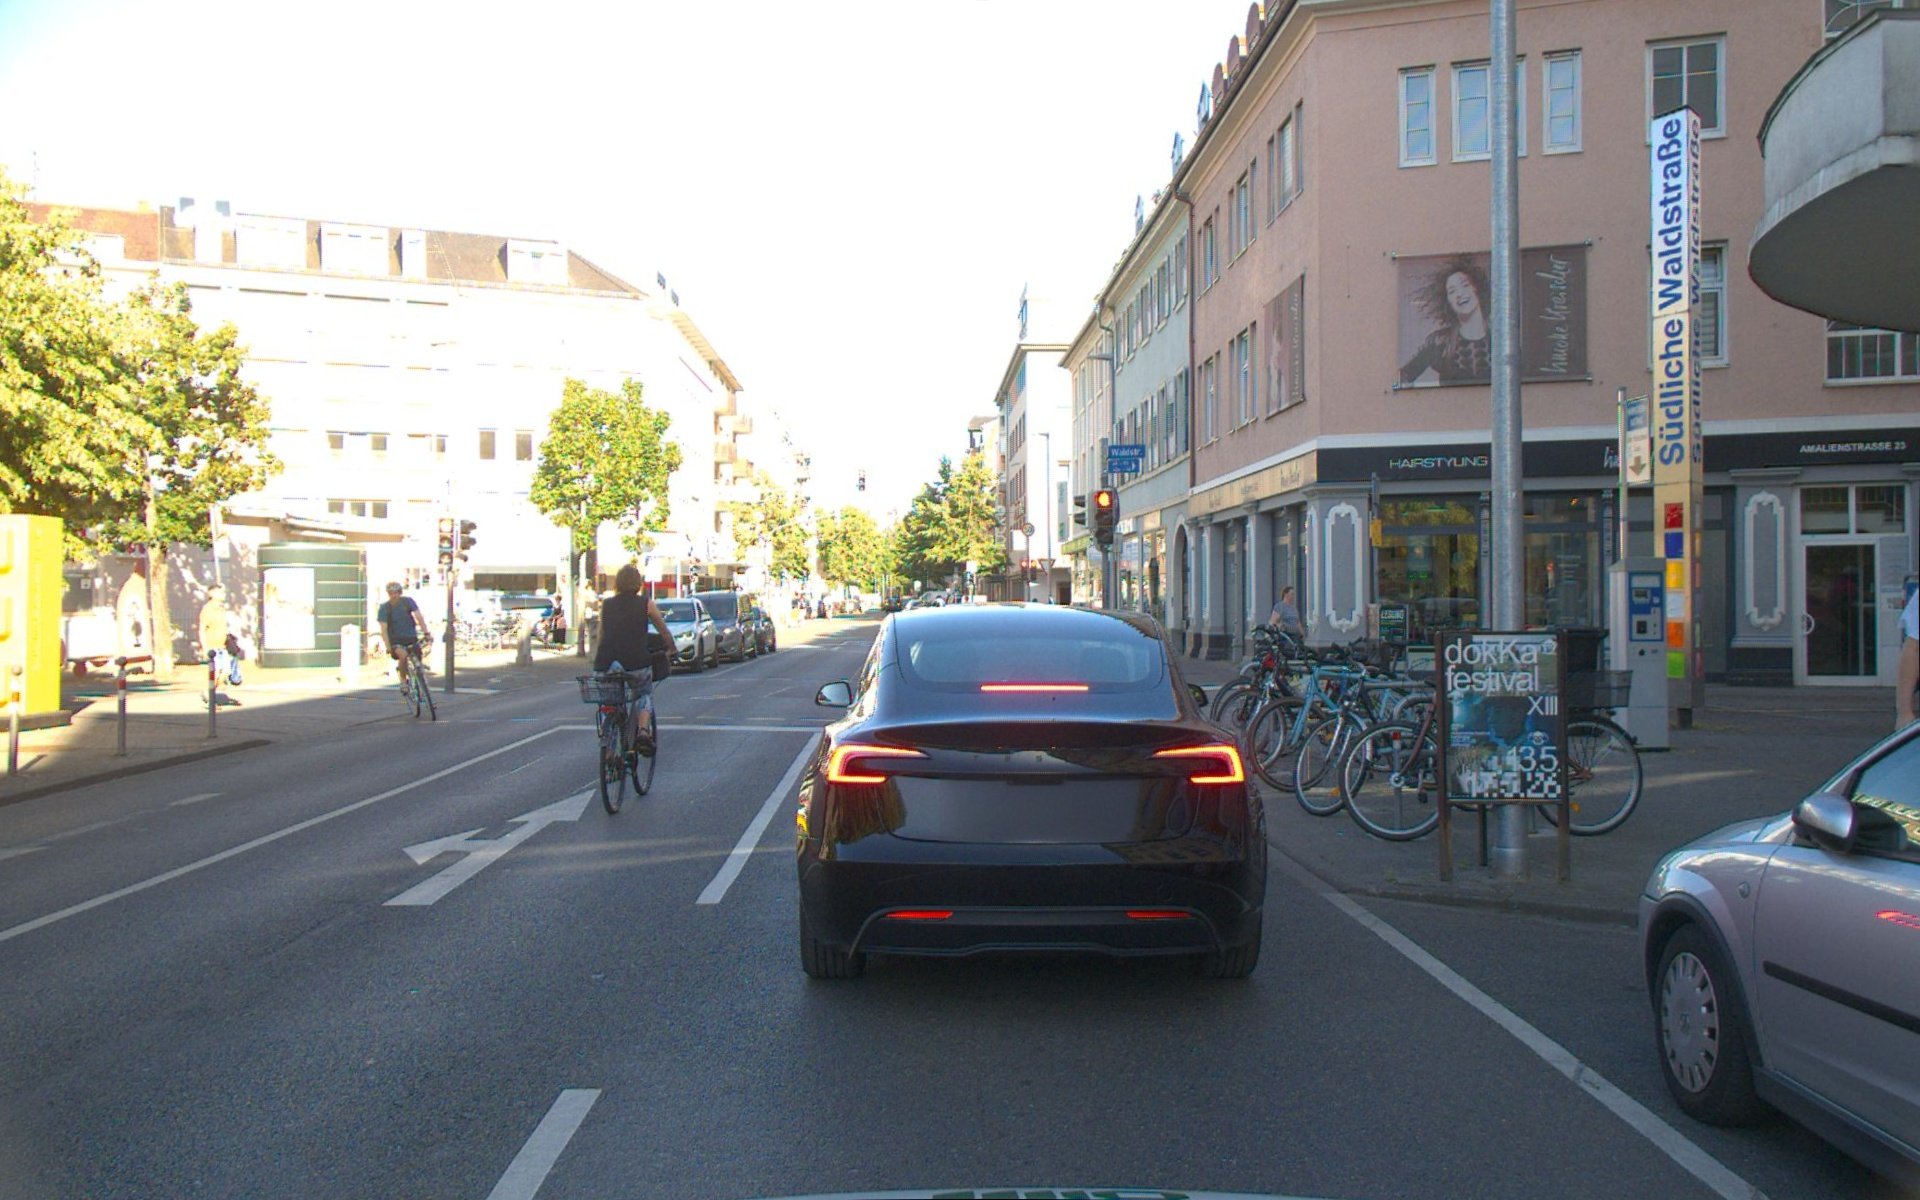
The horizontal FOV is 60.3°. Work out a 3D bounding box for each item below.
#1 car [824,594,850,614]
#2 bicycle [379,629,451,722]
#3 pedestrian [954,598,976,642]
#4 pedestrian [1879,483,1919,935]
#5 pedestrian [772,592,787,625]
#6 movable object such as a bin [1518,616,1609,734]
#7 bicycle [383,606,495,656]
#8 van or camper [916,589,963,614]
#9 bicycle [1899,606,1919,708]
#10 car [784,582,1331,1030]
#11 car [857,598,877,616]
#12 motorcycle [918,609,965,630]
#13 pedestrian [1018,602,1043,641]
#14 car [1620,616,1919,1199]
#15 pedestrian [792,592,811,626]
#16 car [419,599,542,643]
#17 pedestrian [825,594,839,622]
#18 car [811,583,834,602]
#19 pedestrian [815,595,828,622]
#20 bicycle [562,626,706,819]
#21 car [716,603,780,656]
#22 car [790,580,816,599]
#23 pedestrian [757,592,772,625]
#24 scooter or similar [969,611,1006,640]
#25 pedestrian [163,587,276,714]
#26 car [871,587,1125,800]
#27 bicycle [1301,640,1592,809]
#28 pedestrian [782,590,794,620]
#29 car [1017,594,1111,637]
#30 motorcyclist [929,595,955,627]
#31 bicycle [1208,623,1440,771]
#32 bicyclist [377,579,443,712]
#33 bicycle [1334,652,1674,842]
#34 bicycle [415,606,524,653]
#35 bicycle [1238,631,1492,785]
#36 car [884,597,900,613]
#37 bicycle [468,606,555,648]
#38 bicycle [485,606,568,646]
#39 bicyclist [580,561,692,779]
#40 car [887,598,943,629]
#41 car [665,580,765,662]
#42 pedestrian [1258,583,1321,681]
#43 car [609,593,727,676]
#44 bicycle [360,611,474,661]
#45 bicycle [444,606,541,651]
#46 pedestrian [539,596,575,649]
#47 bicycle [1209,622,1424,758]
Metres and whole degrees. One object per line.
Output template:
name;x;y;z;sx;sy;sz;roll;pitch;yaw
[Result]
car;-12.348;0.396;166.250;2.365;2.004;4.677;0;0;-1
bicycle;-7.410;0.999;22.452;0.609;1.182;1.940;-3;0;-27
pedestrian;0.200;0.816;67.169;0.649;1.790;0.649;1;-1;-24
pedestrian;4.337;0.450;6.612;0.792;1.855;0.983;1;0;2
pedestrian;-10.582;0.498;96.977;0.721;1.900;0.787;1;-1;-17
movable object such as a bin;6.022;0.733;16.531;0.623;1.122;0.728;-2;0;3
bicycle;-14.124;0.845;44.911;2.725;1.296;0.932;1;0;-4
van or camper;-2.072;0.171;167.508;4.752;2.481;1.850;0;0;-1
bicycle;12.266;0.594;19.097;2.340;1.171;0.713;-3;-1;6
car;0.300;0.701;7.760;1.812;1.472;4.450;1;0;-1
car;-10.506;0.829;186.954;2.089;2.004;4.133;0;0;-1
motorcycle;-0.948;1.018;85.202;2.354;1.054;0.775;1;-1;-32
pedestrian;2.979;0.893;70.012;0.800;1.637;0.700;1;-1;-38
car;2.922;0.782;3.526;1.551;1.451;3.579;1;0;-1
pedestrian;-9.032;0.514;94.354;0.719;1.900;0.790;1;-1;28
car;-21.328;0.898;73.637;5.124;1.899;1.871;0;0;-23
pedestrian;-8.781;0.519;113.401;0.762;1.900;1.004;1;-1;-16
car;-15.605;-0.817;188.050;2.228;2.049;4.717;1;0;0
pedestrian;-9.812;0.595;117.076;0.684;1.900;0.905;1;-1;-19
bicycle;-2.336;0.833;12.068;0.615;1.244;2.001;1;0;0
car;-6.336;0.855;49.680;1.431;1.455;3.605;-3;0;-1
car;-17.022;-1.129;179.394;2.228;2.049;4.717;1;0;0
pedestrian;-11.449;0.482;96.690;0.721;1.900;0.787;1;-1;-17
scooter or similar;1.116;1.027;67.591;1.317;1.154;0.803;1;-1;-25
pedestrian;-10.531;0.707;23.564;1.087;1.750;1.061;1;0;-1
car;0.243;0.687;14.184;1.812;1.507;4.450;1;0;-1
bicycle;3.250;0.823;11.151;1.776;1.078;0.653;0;0;0
pedestrian;-10.768;0.314;103.703;0.681;1.900;0.658;1;-1;-6
car;4.711;0.703;74.729;3.937;1.900;1.686;0;0;-22
motorcyclist;-0.919;0.560;85.215;1.098;1.662;0.768;1;-1;-30
bicycle;2.978;0.784;13.628;1.776;1.172;0.653;0;0;0
bicyclist;-7.504;0.596;22.542;0.692;1.739;0.803;-3;2;-26
bicycle;3.279;0.875;10.079;1.844;1.062;0.653;-1;0;0
bicycle;-14.001;0.832;47.312;2.818;1.292;0.942;1;0;-4
bicycle;3.050;0.806;12.555;1.776;1.121;0.653;0;0;0
car;-7.937;0.607;194.362;1.854;1.845;3.923;1;0;-2
bicycle;-14.062;0.852;51.905;2.491;1.273;0.942;1;0;-4
bicycle;-14.228;0.859;54.327;2.491;1.273;0.942;1;0;-4
bicyclist;-2.341;0.490;12.025;0.594;1.510;0.958;1;0;0
car;-2.759;0.779;100.251;2.009;1.819;3.975;0;0;-25
car;-6.231;0.507;42.553;1.906;1.981;4.819;0;0;-1
pedestrian;5.431;0.525;27.292;0.775;1.576;0.721;1;-1;-12
car;-6.323;0.712;36.225;1.788;1.592;4.299;-4;0;-1
bicycle;-13.950;0.927;42.574;2.607;1.216;0.942;1;0;-4
bicycle;-14.010;0.847;49.631;2.609;1.281;0.942;1;0;-4
pedestrian;-12.822;0.719;52.655;1.074;1.639;1.262;1;0;-14
bicycle;3.162;0.792;14.765;1.776;1.172;0.653;0;0;0
